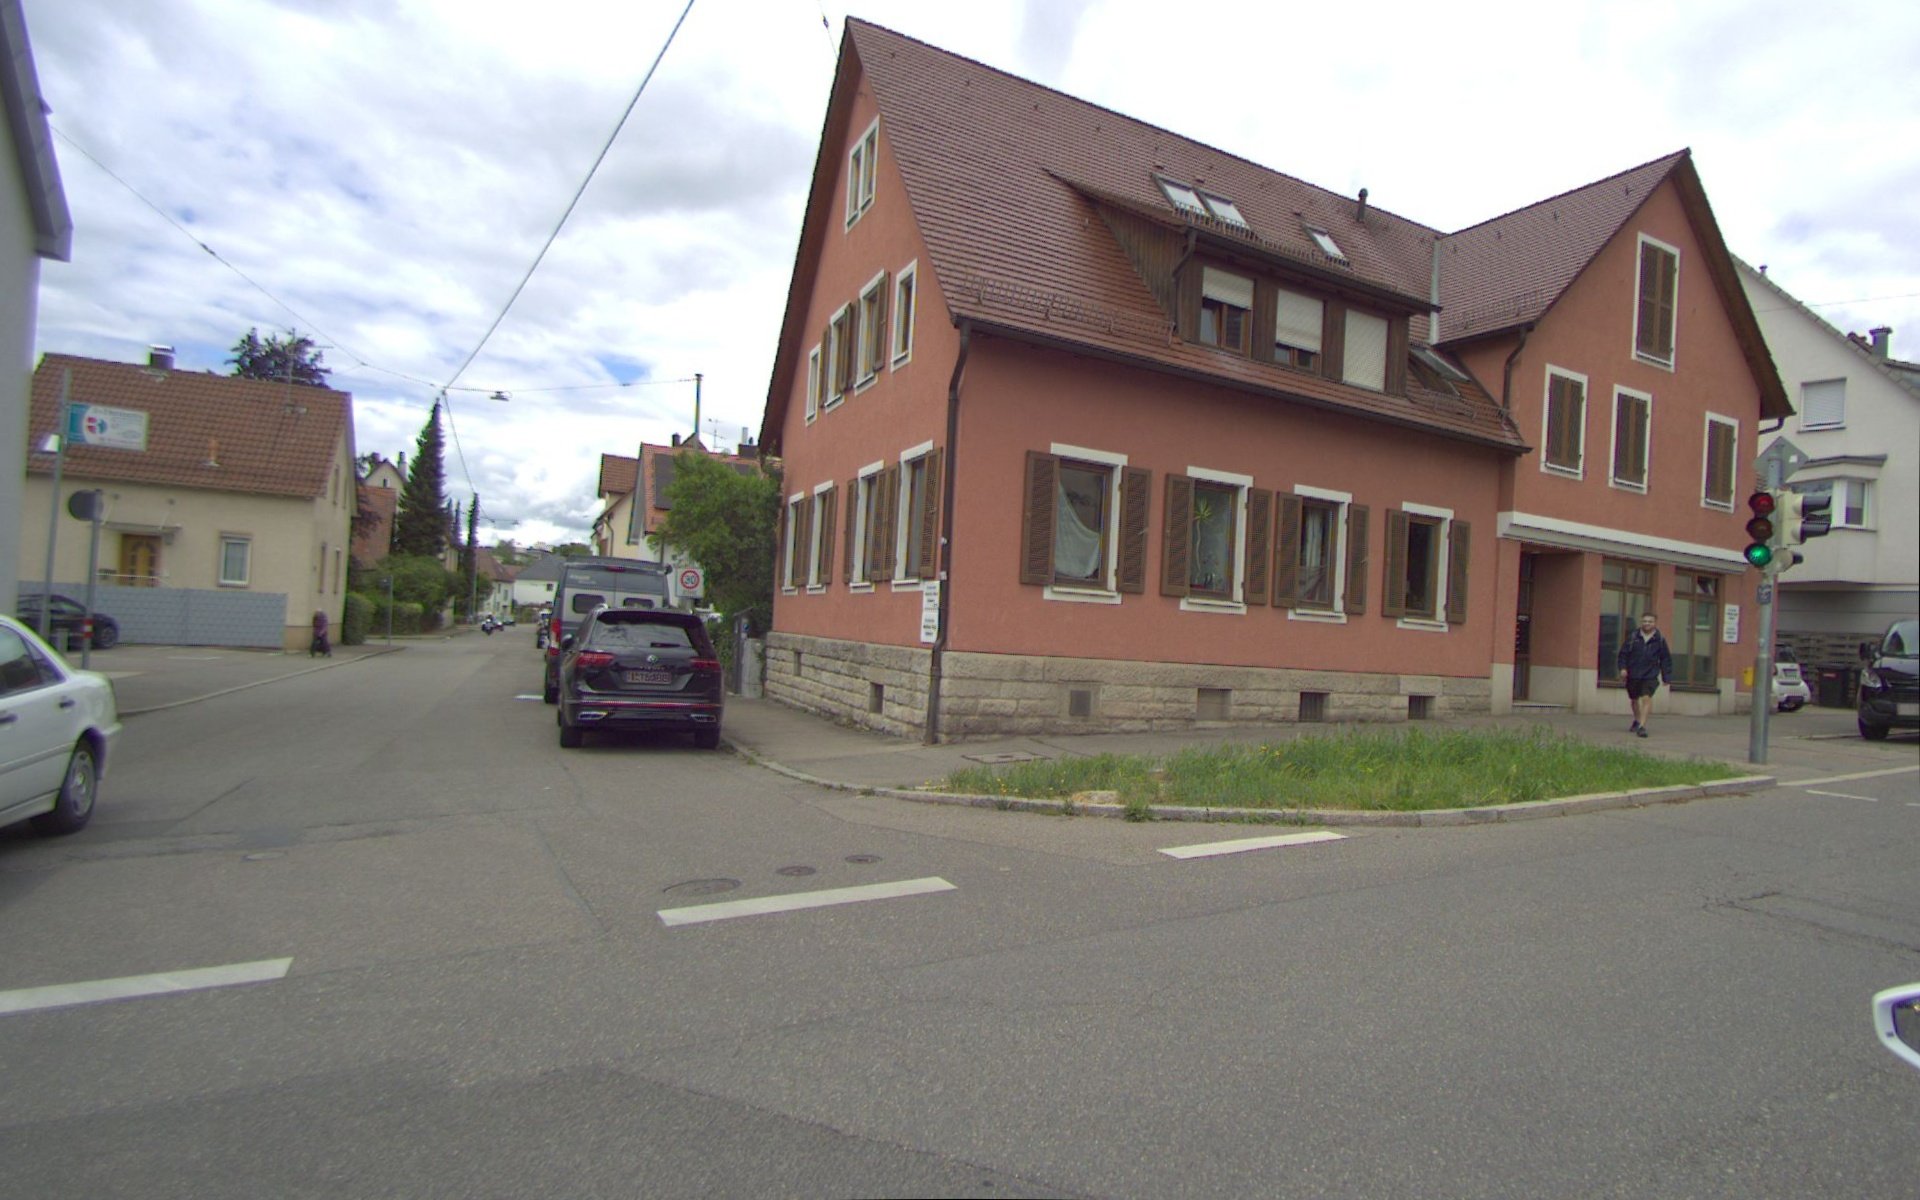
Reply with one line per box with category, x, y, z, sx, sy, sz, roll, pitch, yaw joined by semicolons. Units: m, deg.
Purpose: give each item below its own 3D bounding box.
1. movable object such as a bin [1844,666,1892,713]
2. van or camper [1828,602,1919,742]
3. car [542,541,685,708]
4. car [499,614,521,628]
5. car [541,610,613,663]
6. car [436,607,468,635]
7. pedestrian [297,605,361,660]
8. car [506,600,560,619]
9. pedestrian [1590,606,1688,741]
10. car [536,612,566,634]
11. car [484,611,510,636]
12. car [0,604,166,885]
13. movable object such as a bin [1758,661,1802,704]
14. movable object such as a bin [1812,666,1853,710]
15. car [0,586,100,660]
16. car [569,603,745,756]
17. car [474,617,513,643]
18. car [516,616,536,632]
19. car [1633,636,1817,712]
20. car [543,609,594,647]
movable object such as a bin;21.359;2.100;23.638;0.787;1.031;0.661;2;-1;-34
van or camper;16.037;1.206;15.928;4.803;2.031;2.063;4;-4;-31
car;-6.821;0.362;19.661;2.237;2.812;4.927;2;2;-21
car;-59.643;2.827;133.138;2.237;1.528;4.810;2;2;-21
car;-13.822;1.263;36.363;2.237;1.528;4.810;2;2;-21
car;-41.902;1.690;82.894;1.972;2.041;3.977;2;2;-23
pedestrian;-19.527;1.015;31.103;1.036;1.608;1.300;3;-3;1
car;-67.828;1.493;159.708;7.080;2.739;3.209;2;-1;4
pedestrian;9.597;1.013;14.206;0.882;1.808;0.796;2;0;-31
car;-35.371;1.994;86.955;2.237;1.528;4.810;2;2;-21
car;-42.337;2.122;91.944;1.972;2.041;3.977;2;2;-23
car;-6.025;0.739;5.145;1.973;1.464;4.542;1;-2;-24
movable object such as a bin;20.422;2.045;25.018;0.787;1.031;0.661;2;-1;-34
movable object such as a bin;20.929;2.113;24.091;0.627;0.984;0.531;2;2;-30
car;-23.635;0.525;25.256;1.777;1.611;4.038;3;1;-21
car;-4.006;0.963;12.842;1.777;1.610;4.039;3;-3;-21
car;-34.897;2.214;75.274;2.237;1.528;4.810;2;2;-21
car;-65.442;3.623;151.406;1.966;2.041;3.990;2;1;-12
car;17.162;1.633;22.636;1.720;1.494;2.819;3;-1;-27
car;-19.682;1.366;50.572;2.237;1.528;4.810;2;2;-21
